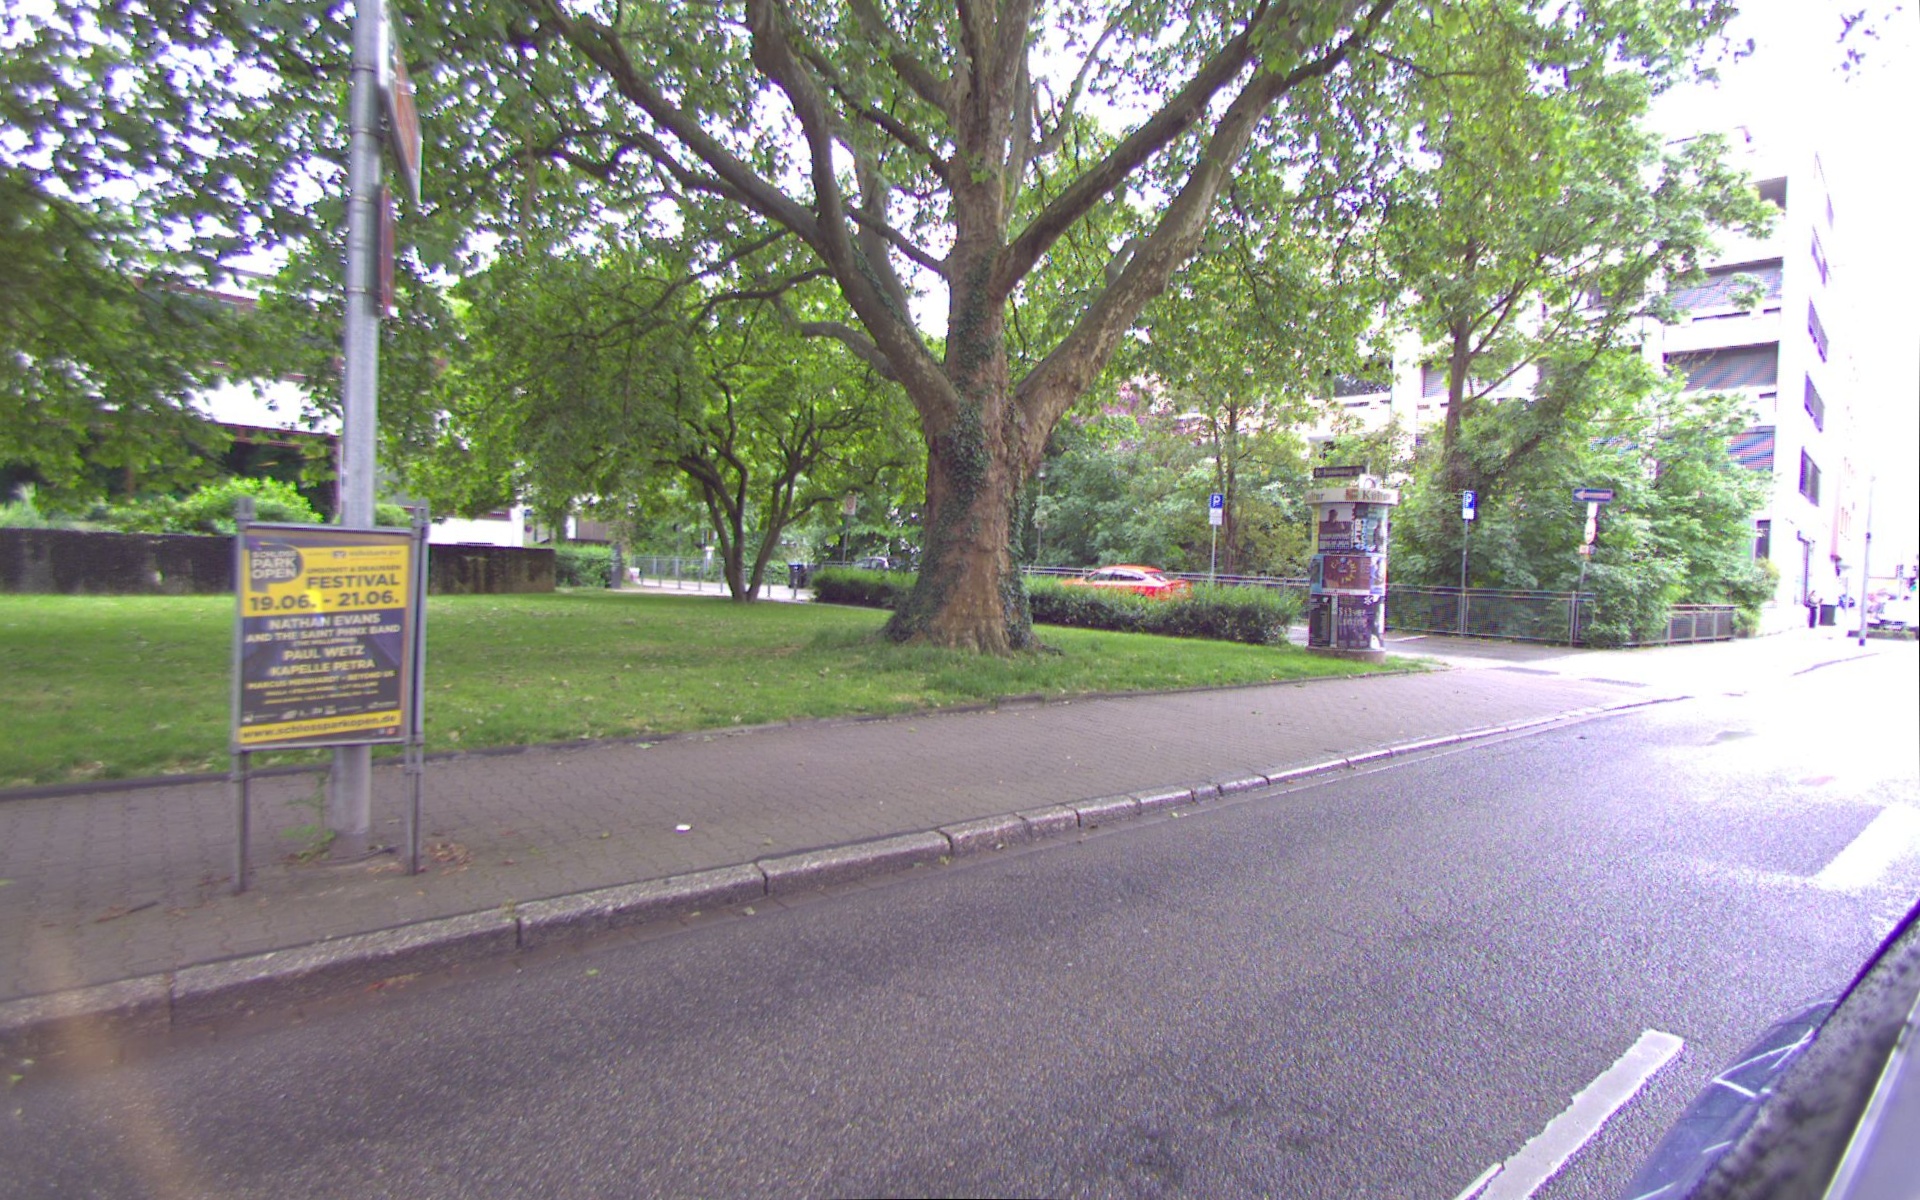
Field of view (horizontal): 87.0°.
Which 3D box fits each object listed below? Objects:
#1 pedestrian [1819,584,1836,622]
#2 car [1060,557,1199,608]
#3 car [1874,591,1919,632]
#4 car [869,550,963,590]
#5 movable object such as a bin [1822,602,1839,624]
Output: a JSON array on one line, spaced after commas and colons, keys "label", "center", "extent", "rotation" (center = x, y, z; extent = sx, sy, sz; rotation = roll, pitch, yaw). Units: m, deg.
[{"label": "pedestrian", "center": [36.491, 0.122, 42.572], "extent": [0.473, 1.549, 0.480], "rotation": [0, 0, -41]}, {"label": "car", "center": [4.878, -0.544, 29.500], "extent": [1.551, 1.294, 3.784], "rotation": [-1, 4, -44]}, {"label": "car", "center": [37.405, 0.453, 39.744], "extent": [3.617, 1.449, 1.681], "rotation": [0, 6, -41]}, {"label": "car", "center": [-1.630, -1.091, 36.651], "extent": [3.460, 1.294, 1.426], "rotation": [5, 4, 45]}, {"label": "movable object such as a bin", "center": [41.911, 0.617, 48.718], "extent": [0.287, 1.054, 0.556], "rotation": [0, 3, -41]}]
